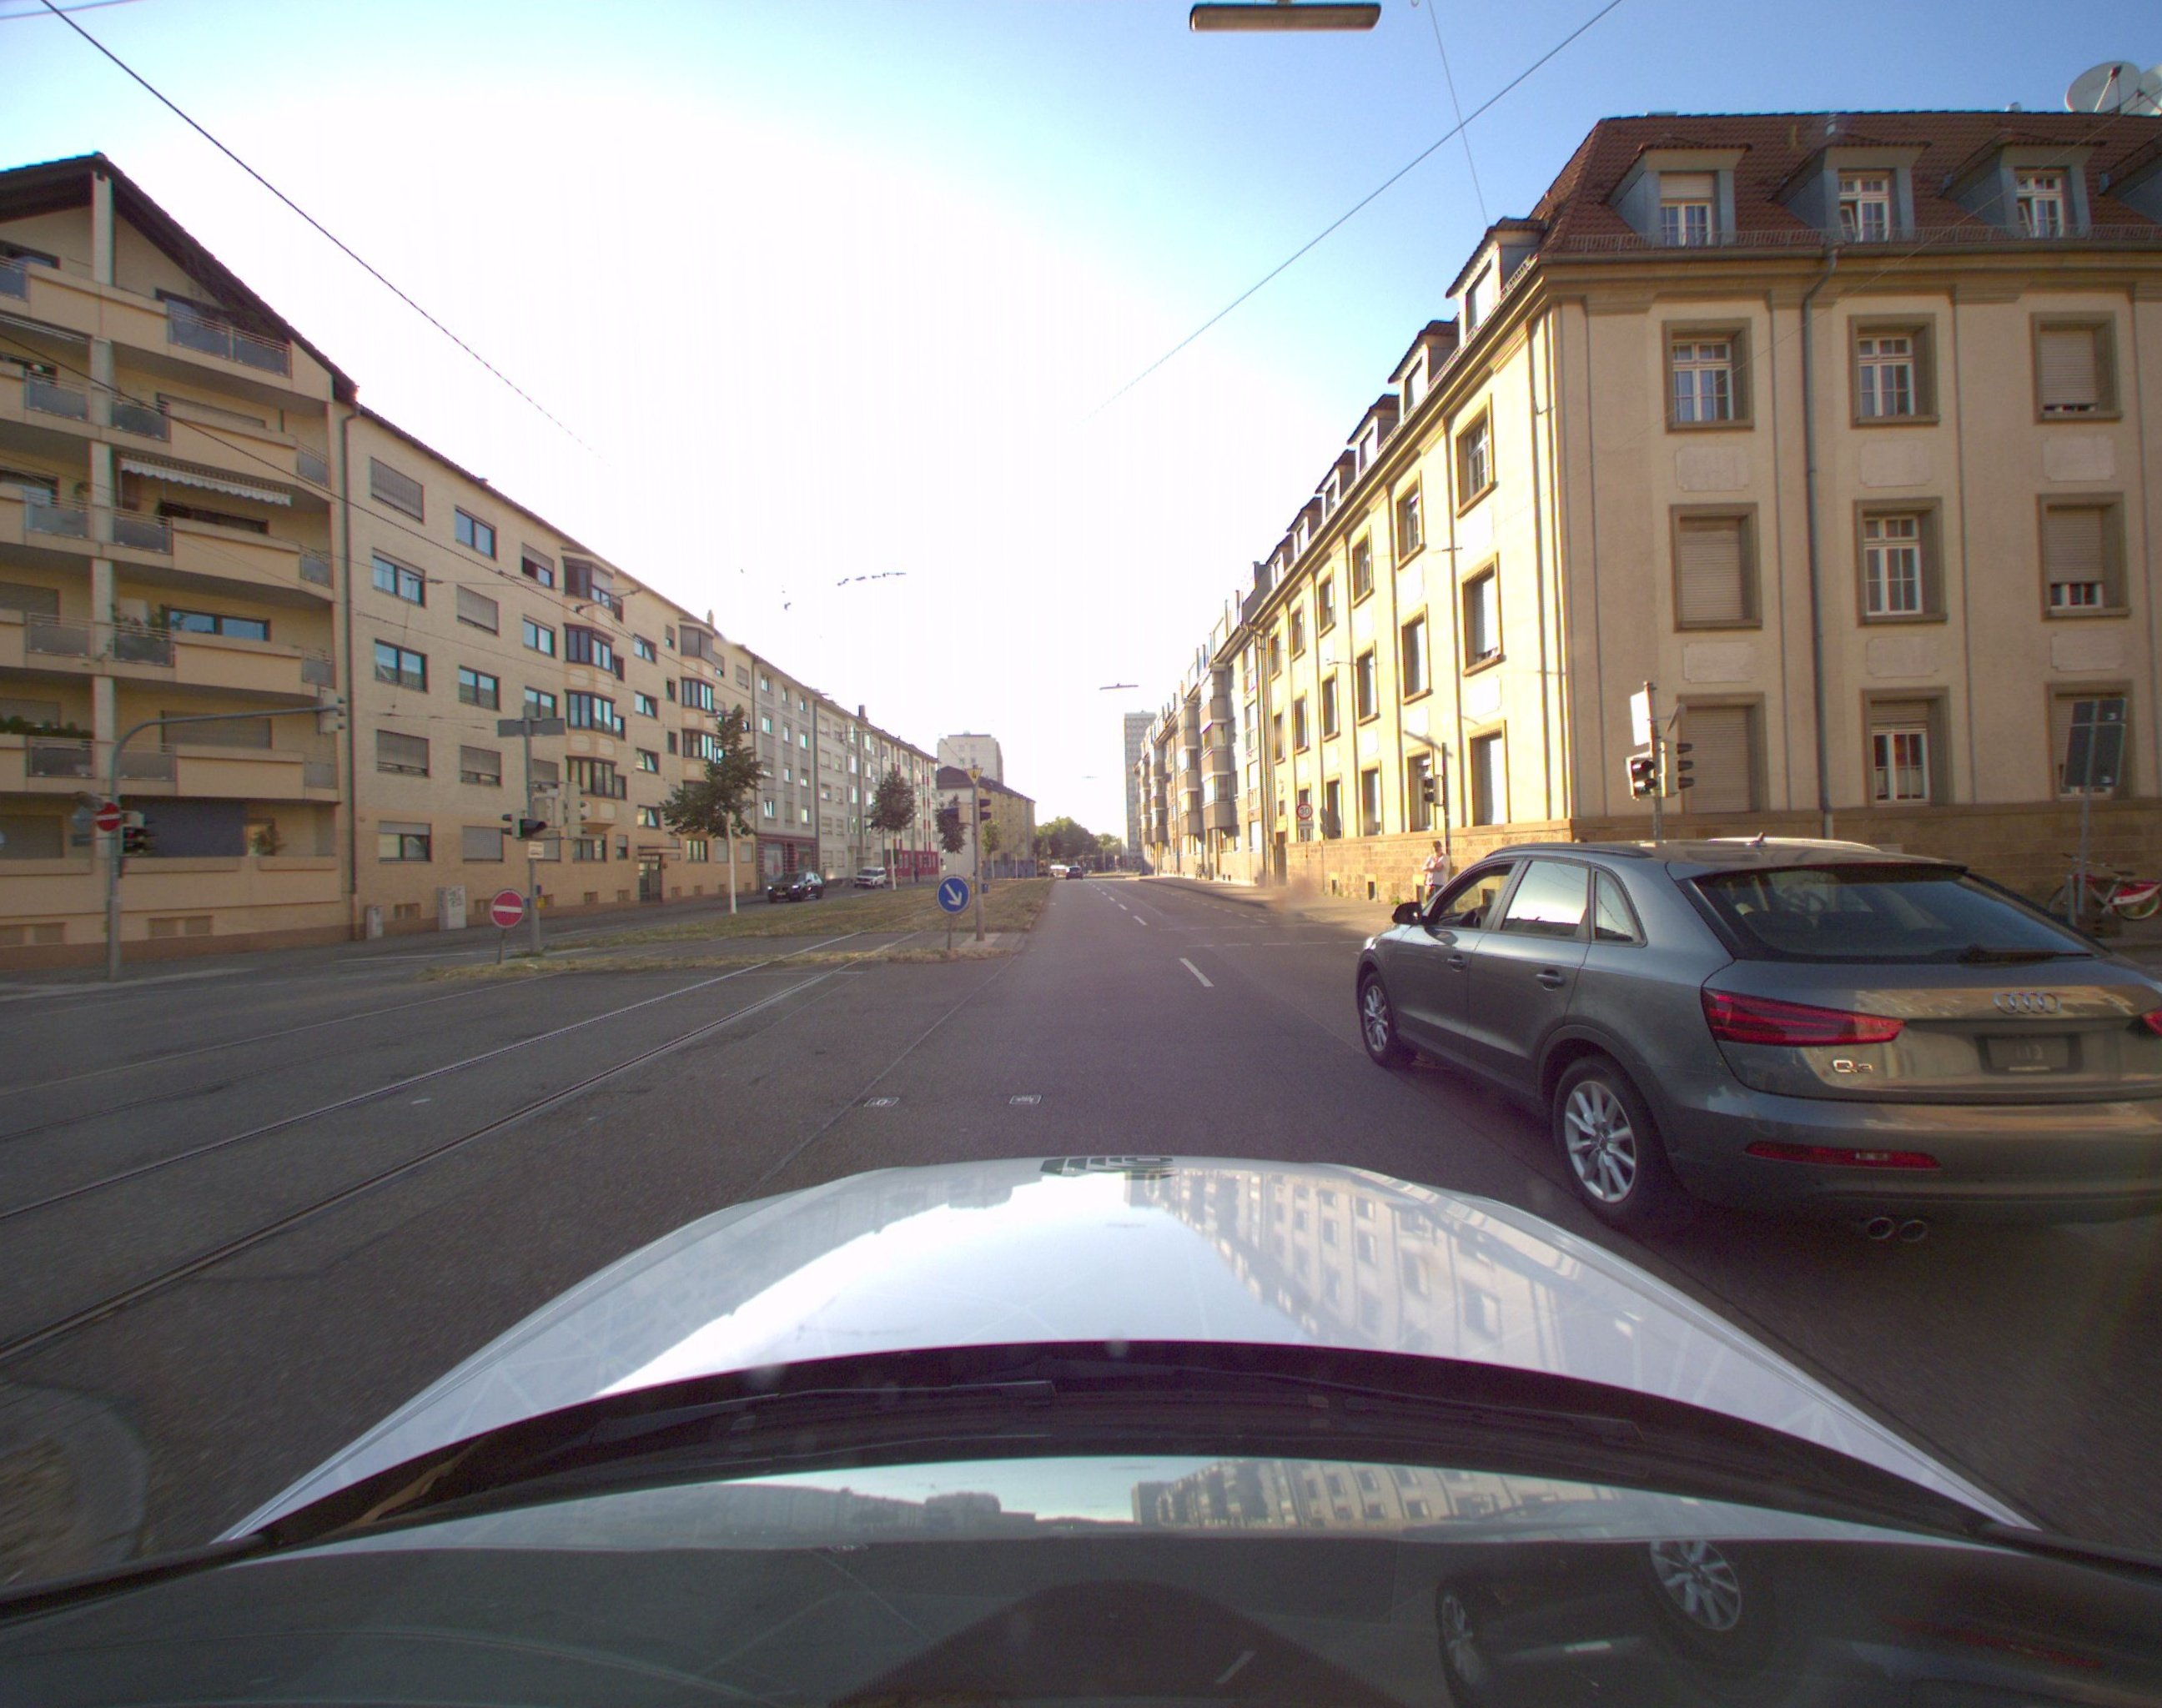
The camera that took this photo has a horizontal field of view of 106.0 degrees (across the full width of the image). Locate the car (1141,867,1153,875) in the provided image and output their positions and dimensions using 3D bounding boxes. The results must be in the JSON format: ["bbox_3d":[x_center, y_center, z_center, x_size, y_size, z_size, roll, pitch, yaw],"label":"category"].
[{"bbox_3d":[13.086,3.391,162.328,1.981,1.564,4.011,-1,-1,10],"label":"car"}]

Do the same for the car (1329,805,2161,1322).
[{"bbox_3d":[2.929,0.668,4.641,1.692,1.553,4.224,-1,-1,0],"label":"car"}]

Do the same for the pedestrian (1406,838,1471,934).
[{"bbox_3d":[6.809,0.597,15.538,0.833,1.762,0.823,-1,-1,-1],"label":"pedestrian"}]

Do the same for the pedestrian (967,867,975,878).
[{"bbox_3d":[-16.415,2.793,121.477,0.958,1.694,1.012,-1,-1,4],"label":"pedestrian"}]

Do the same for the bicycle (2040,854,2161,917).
[{"bbox_3d":[17.127,0.530,13.631,1.492,1.018,0.250,-1,-2,15],"label":"bicycle"}]

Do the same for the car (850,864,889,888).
[{"bbox_3d":[-18.180,1.898,70.235,1.985,1.925,4.545,-1,-1,3],"label":"car"}]

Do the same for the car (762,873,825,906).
[{"bbox_3d":[-16.472,2.005,46.969,1.891,1.633,4.746,-3,-1,0],"label":"car"}]

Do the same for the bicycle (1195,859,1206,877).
[{"bbox_3d":[7.540,0.892,51.378,0.383,1.096,1.502,-3,-1,-3],"label":"bicycle"}]

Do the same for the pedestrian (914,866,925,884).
[{"bbox_3d":[-18.720,2.405,94.151,1.000,2.036,0.887,-1,-1,5],"label":"pedestrian"}]

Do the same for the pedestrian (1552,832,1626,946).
[{"bbox_3d":[8.179,0.554,13.150,0.627,1.758,0.825,-1,-1,-1],"label":"pedestrian"}]

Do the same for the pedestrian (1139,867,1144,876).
[{"bbox_3d":[8.094,2.376,109.014,0.688,1.234,0.737,-1,-1,3],"label":"pedestrian"}]

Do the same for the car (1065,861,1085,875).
[{"bbox_3d":[-0.660,1.486,87.465,1.919,1.456,4.329,-2,-1,2],"label":"car"}]

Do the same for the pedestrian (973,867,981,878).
[{"bbox_3d":[-15.585,2.783,121.720,0.958,1.670,1.012,-1,-1,4],"label":"pedestrian"}]

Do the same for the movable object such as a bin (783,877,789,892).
[{"bbox_3d":[-20.558,2.102,56.719,0.297,1.036,0.441,-1,-1,-2],"label":"movable object such as a bin"}]
